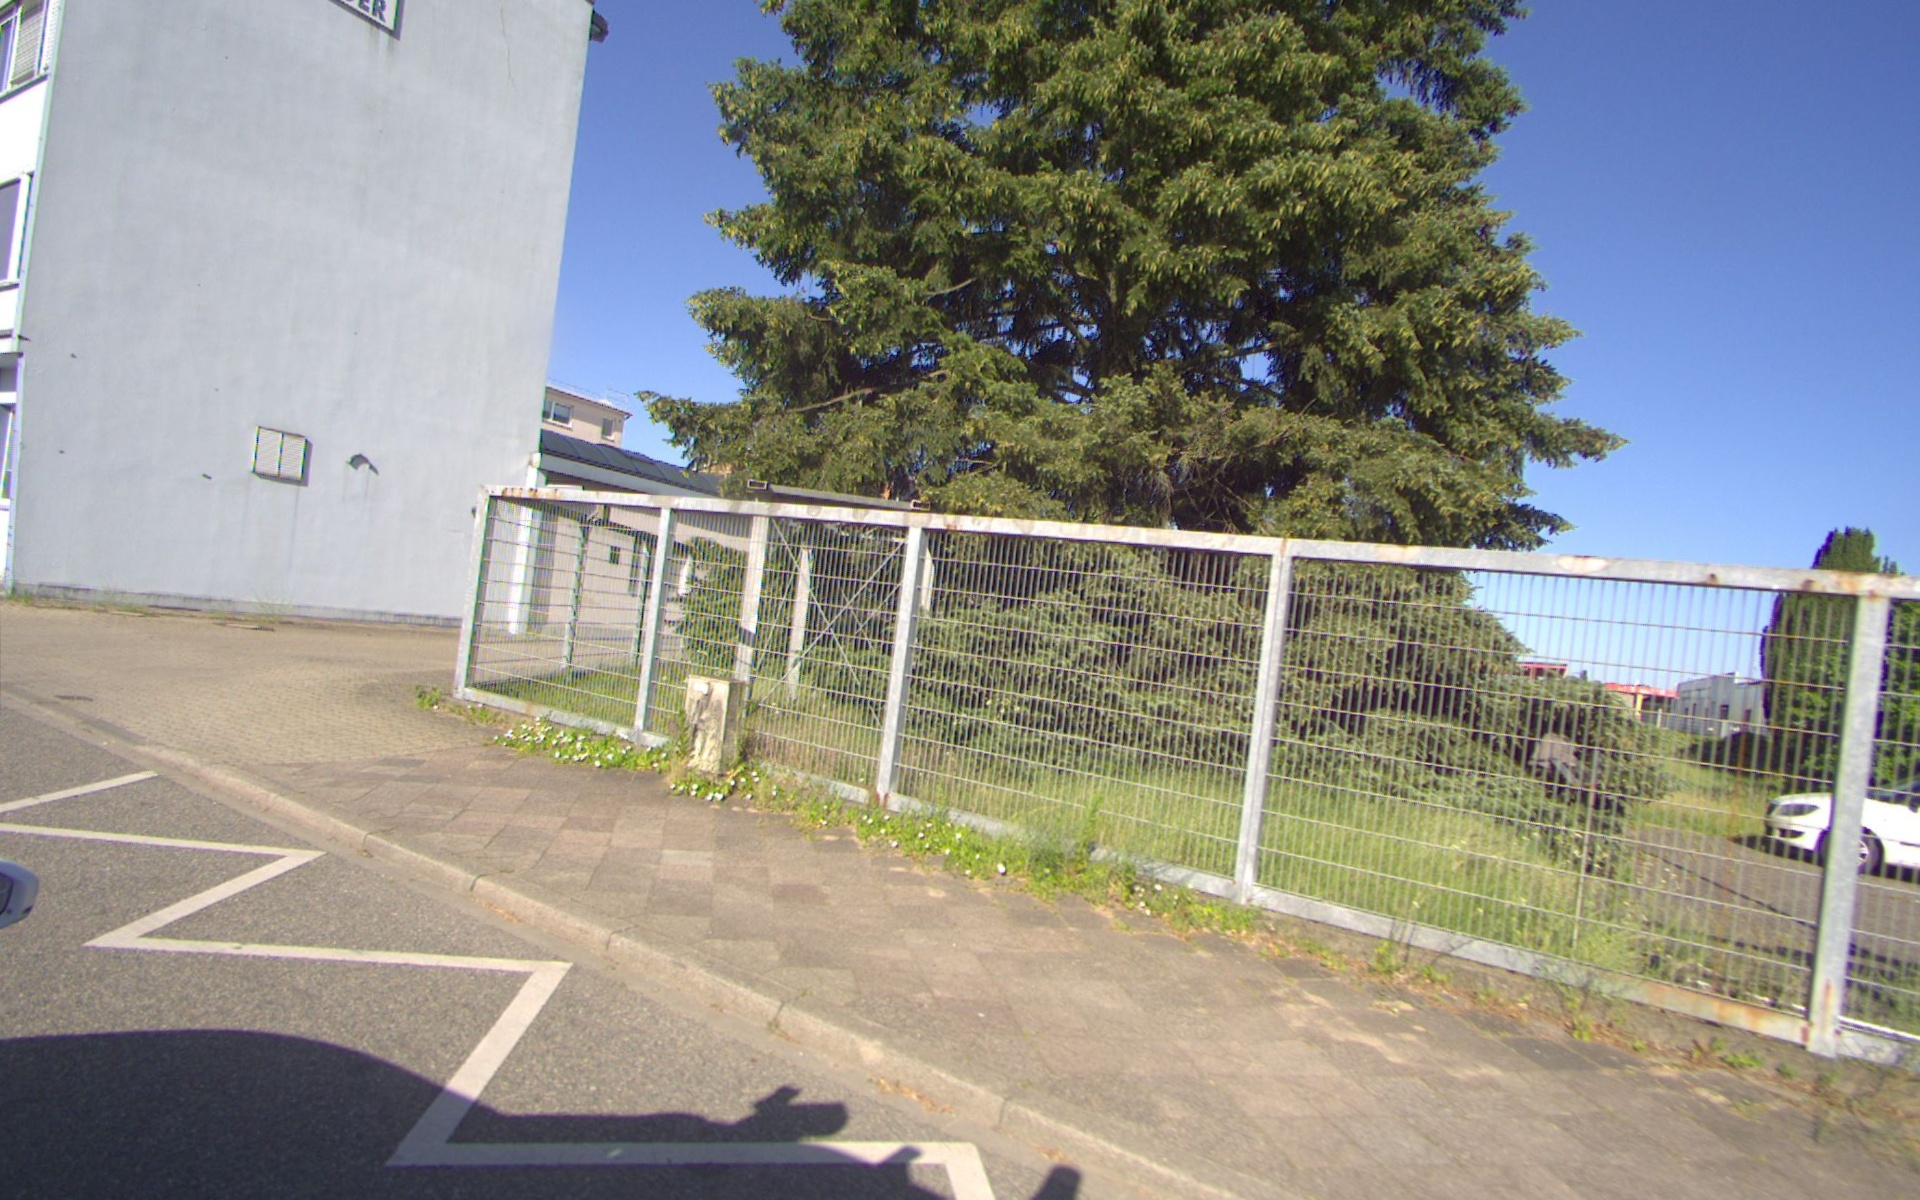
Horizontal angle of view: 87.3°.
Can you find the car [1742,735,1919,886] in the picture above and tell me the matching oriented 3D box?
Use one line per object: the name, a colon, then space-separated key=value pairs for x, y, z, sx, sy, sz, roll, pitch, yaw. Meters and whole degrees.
car: x=12.773 y=2.862 z=12.834 sx=4.230 sy=1.582 sz=1.865 roll=6 pitch=-2 yaw=37
